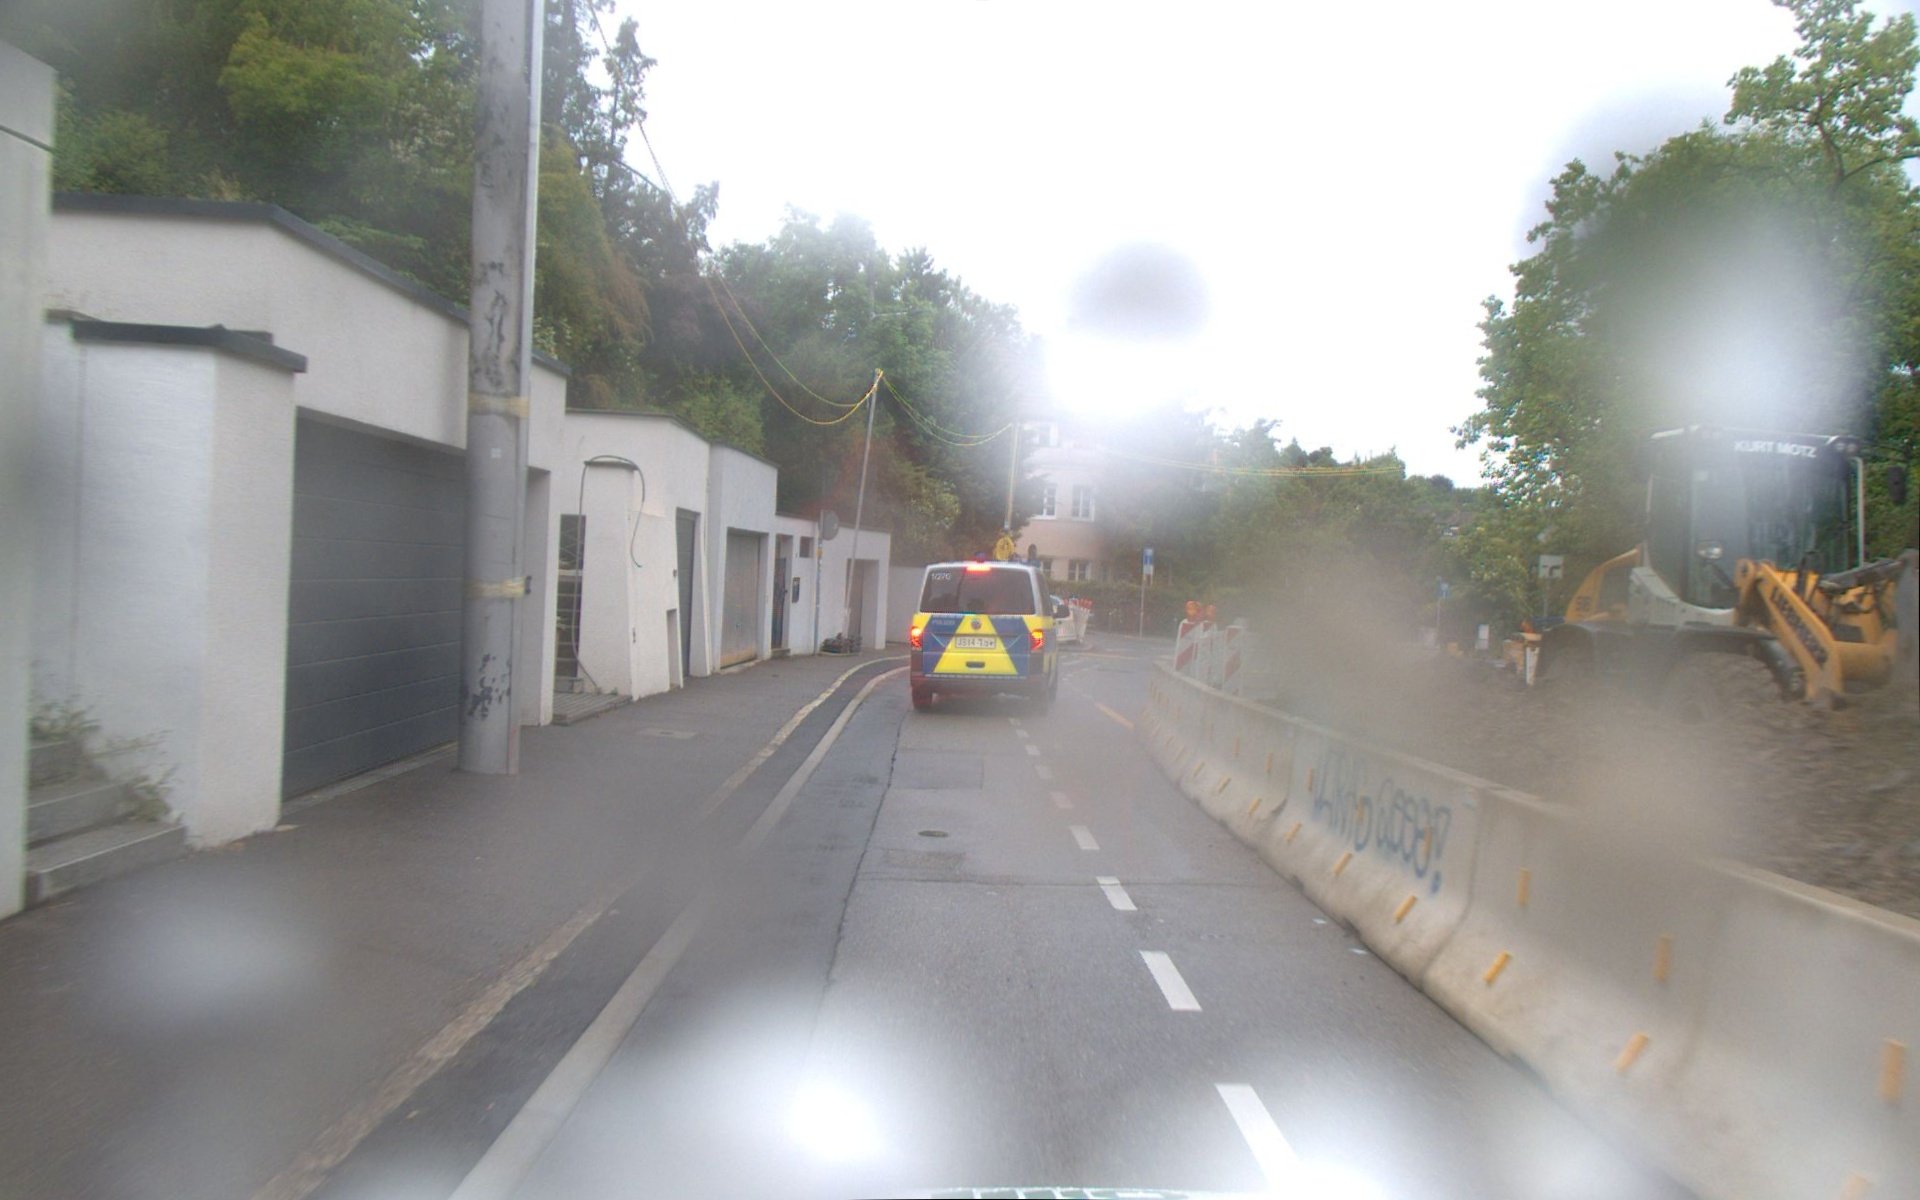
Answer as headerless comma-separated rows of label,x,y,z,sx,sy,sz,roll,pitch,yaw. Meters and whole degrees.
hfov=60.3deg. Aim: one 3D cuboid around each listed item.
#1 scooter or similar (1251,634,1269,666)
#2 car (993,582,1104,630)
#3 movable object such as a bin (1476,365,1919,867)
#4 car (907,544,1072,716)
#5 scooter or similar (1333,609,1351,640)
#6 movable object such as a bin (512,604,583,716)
scooter or similar,11.563,1.928,63.758,0.455,1.207,1.025,4,-1,0
car,3.441,0.231,64.647,3.913,1.544,1.725,4,-1,30
movable object such as a bin,6.286,0.182,13.370,2.443,3.129,5.589,4,-1,2
car,0.519,0.422,23.252,1.868,2.045,4.442,4,-1,5
scooter or similar,14.711,0.947,63.728,0.454,1.164,0.835,4,-1,2
movable object such as a bin,-4.005,0.577,16.073,0.493,1.039,0.522,4,-1,-1
